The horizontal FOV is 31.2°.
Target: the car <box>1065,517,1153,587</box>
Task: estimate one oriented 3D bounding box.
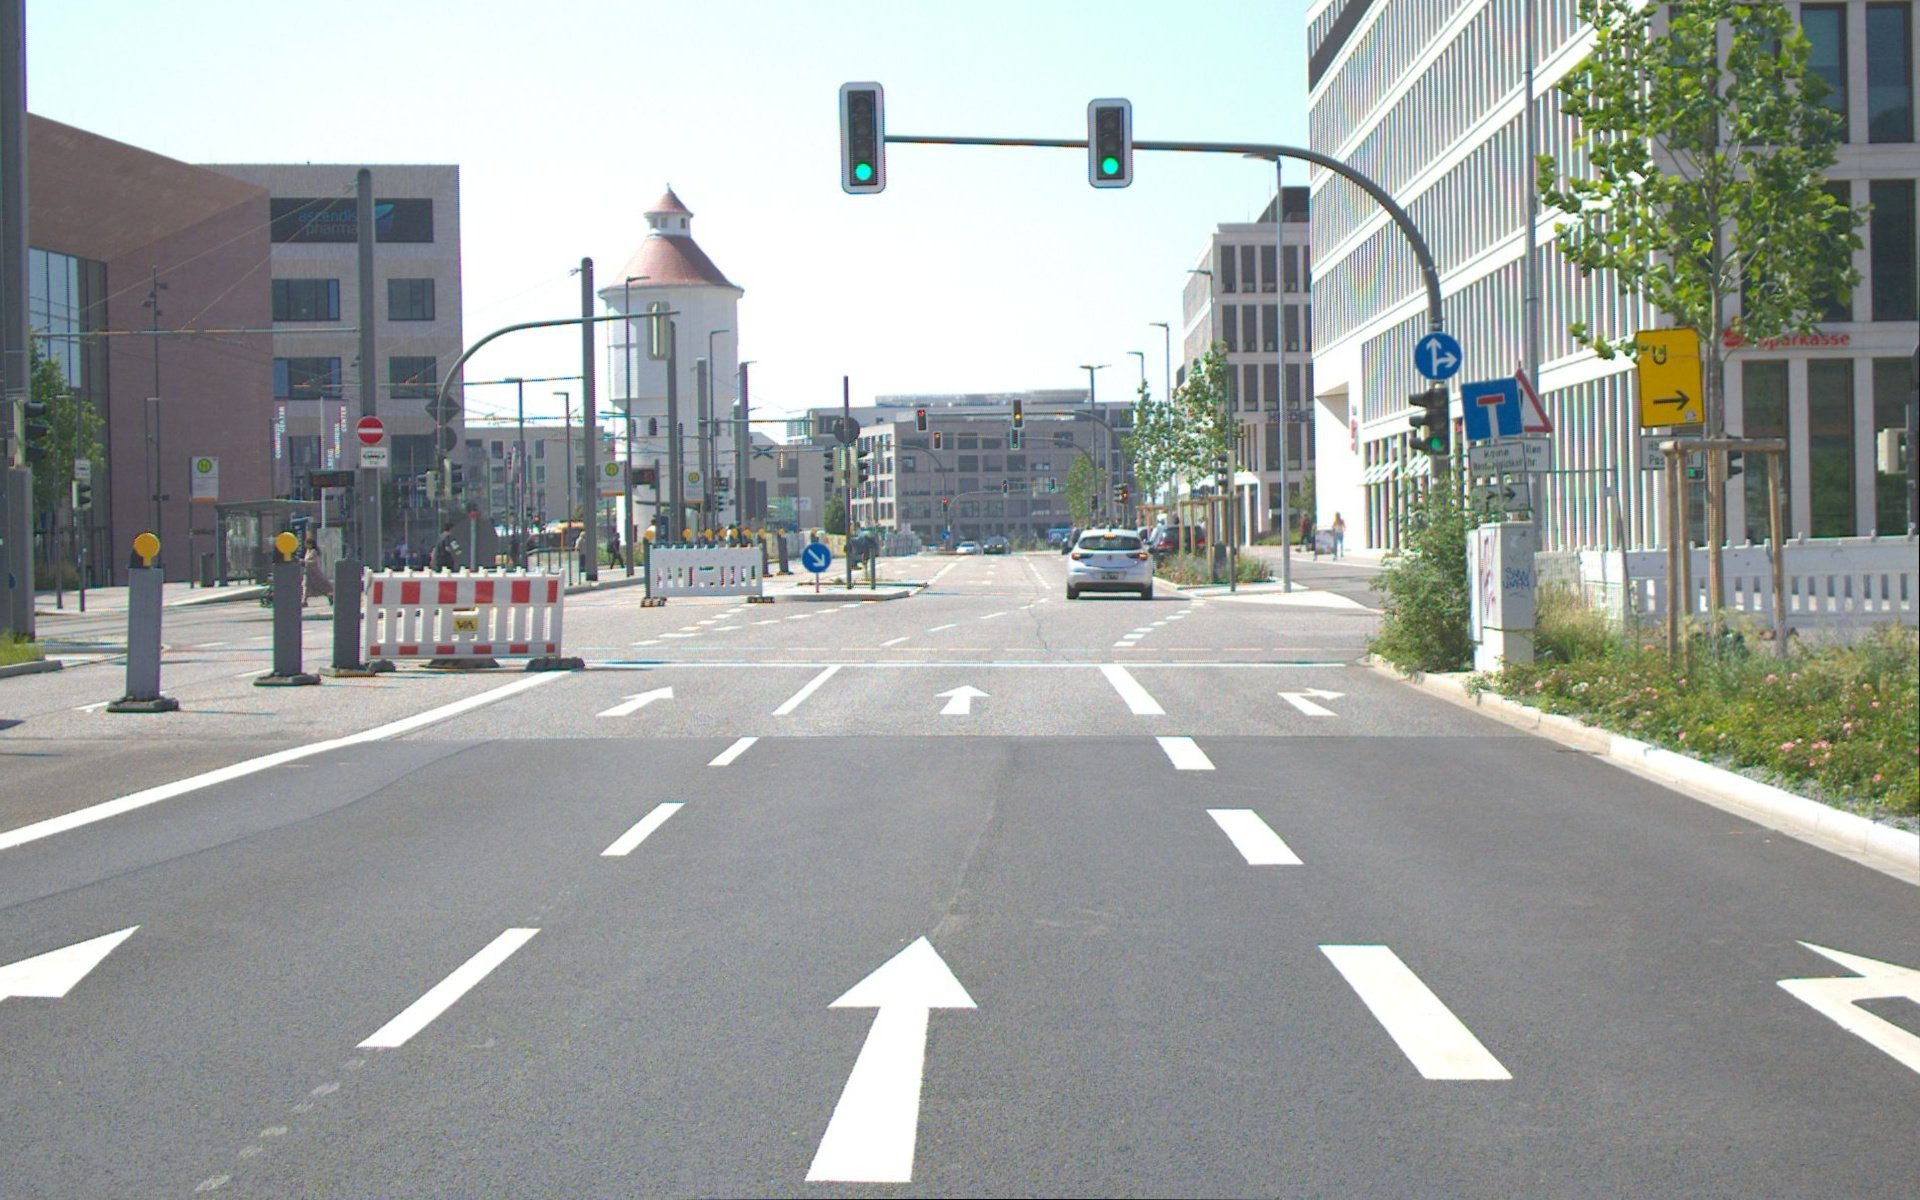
[{"bbox_3d":[3.115,-0.988,71.738,1.772,1.390,3.531,1,0,3],"label":"car"}]

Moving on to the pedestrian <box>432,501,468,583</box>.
[{"bbox_3d":[-11.378,-1.299,76.649,0.653,1.827,0.661,0,2,5],"label":"pedestrian"}]

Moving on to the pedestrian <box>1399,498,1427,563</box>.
[{"bbox_3d":[12.279,-1.876,93.127,0.627,1.736,0.814,-1,1,1],"label":"pedestrian"}]

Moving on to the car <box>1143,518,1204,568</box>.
[{"bbox_3d":[6.419,-1.695,103.078,1.737,1.469,3.980,0,1,5],"label":"car"}]

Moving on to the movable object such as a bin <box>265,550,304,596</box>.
[{"bbox_3d":[-15.405,-0.623,78.392,0.712,1.028,0.794,-1,2,-24],"label":"movable object such as a bin"}]

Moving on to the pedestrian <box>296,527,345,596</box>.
[{"bbox_3d":[-14.641,-0.883,78.722,0.929,1.557,0.794,-1,2,-25],"label":"pedestrian"}]
